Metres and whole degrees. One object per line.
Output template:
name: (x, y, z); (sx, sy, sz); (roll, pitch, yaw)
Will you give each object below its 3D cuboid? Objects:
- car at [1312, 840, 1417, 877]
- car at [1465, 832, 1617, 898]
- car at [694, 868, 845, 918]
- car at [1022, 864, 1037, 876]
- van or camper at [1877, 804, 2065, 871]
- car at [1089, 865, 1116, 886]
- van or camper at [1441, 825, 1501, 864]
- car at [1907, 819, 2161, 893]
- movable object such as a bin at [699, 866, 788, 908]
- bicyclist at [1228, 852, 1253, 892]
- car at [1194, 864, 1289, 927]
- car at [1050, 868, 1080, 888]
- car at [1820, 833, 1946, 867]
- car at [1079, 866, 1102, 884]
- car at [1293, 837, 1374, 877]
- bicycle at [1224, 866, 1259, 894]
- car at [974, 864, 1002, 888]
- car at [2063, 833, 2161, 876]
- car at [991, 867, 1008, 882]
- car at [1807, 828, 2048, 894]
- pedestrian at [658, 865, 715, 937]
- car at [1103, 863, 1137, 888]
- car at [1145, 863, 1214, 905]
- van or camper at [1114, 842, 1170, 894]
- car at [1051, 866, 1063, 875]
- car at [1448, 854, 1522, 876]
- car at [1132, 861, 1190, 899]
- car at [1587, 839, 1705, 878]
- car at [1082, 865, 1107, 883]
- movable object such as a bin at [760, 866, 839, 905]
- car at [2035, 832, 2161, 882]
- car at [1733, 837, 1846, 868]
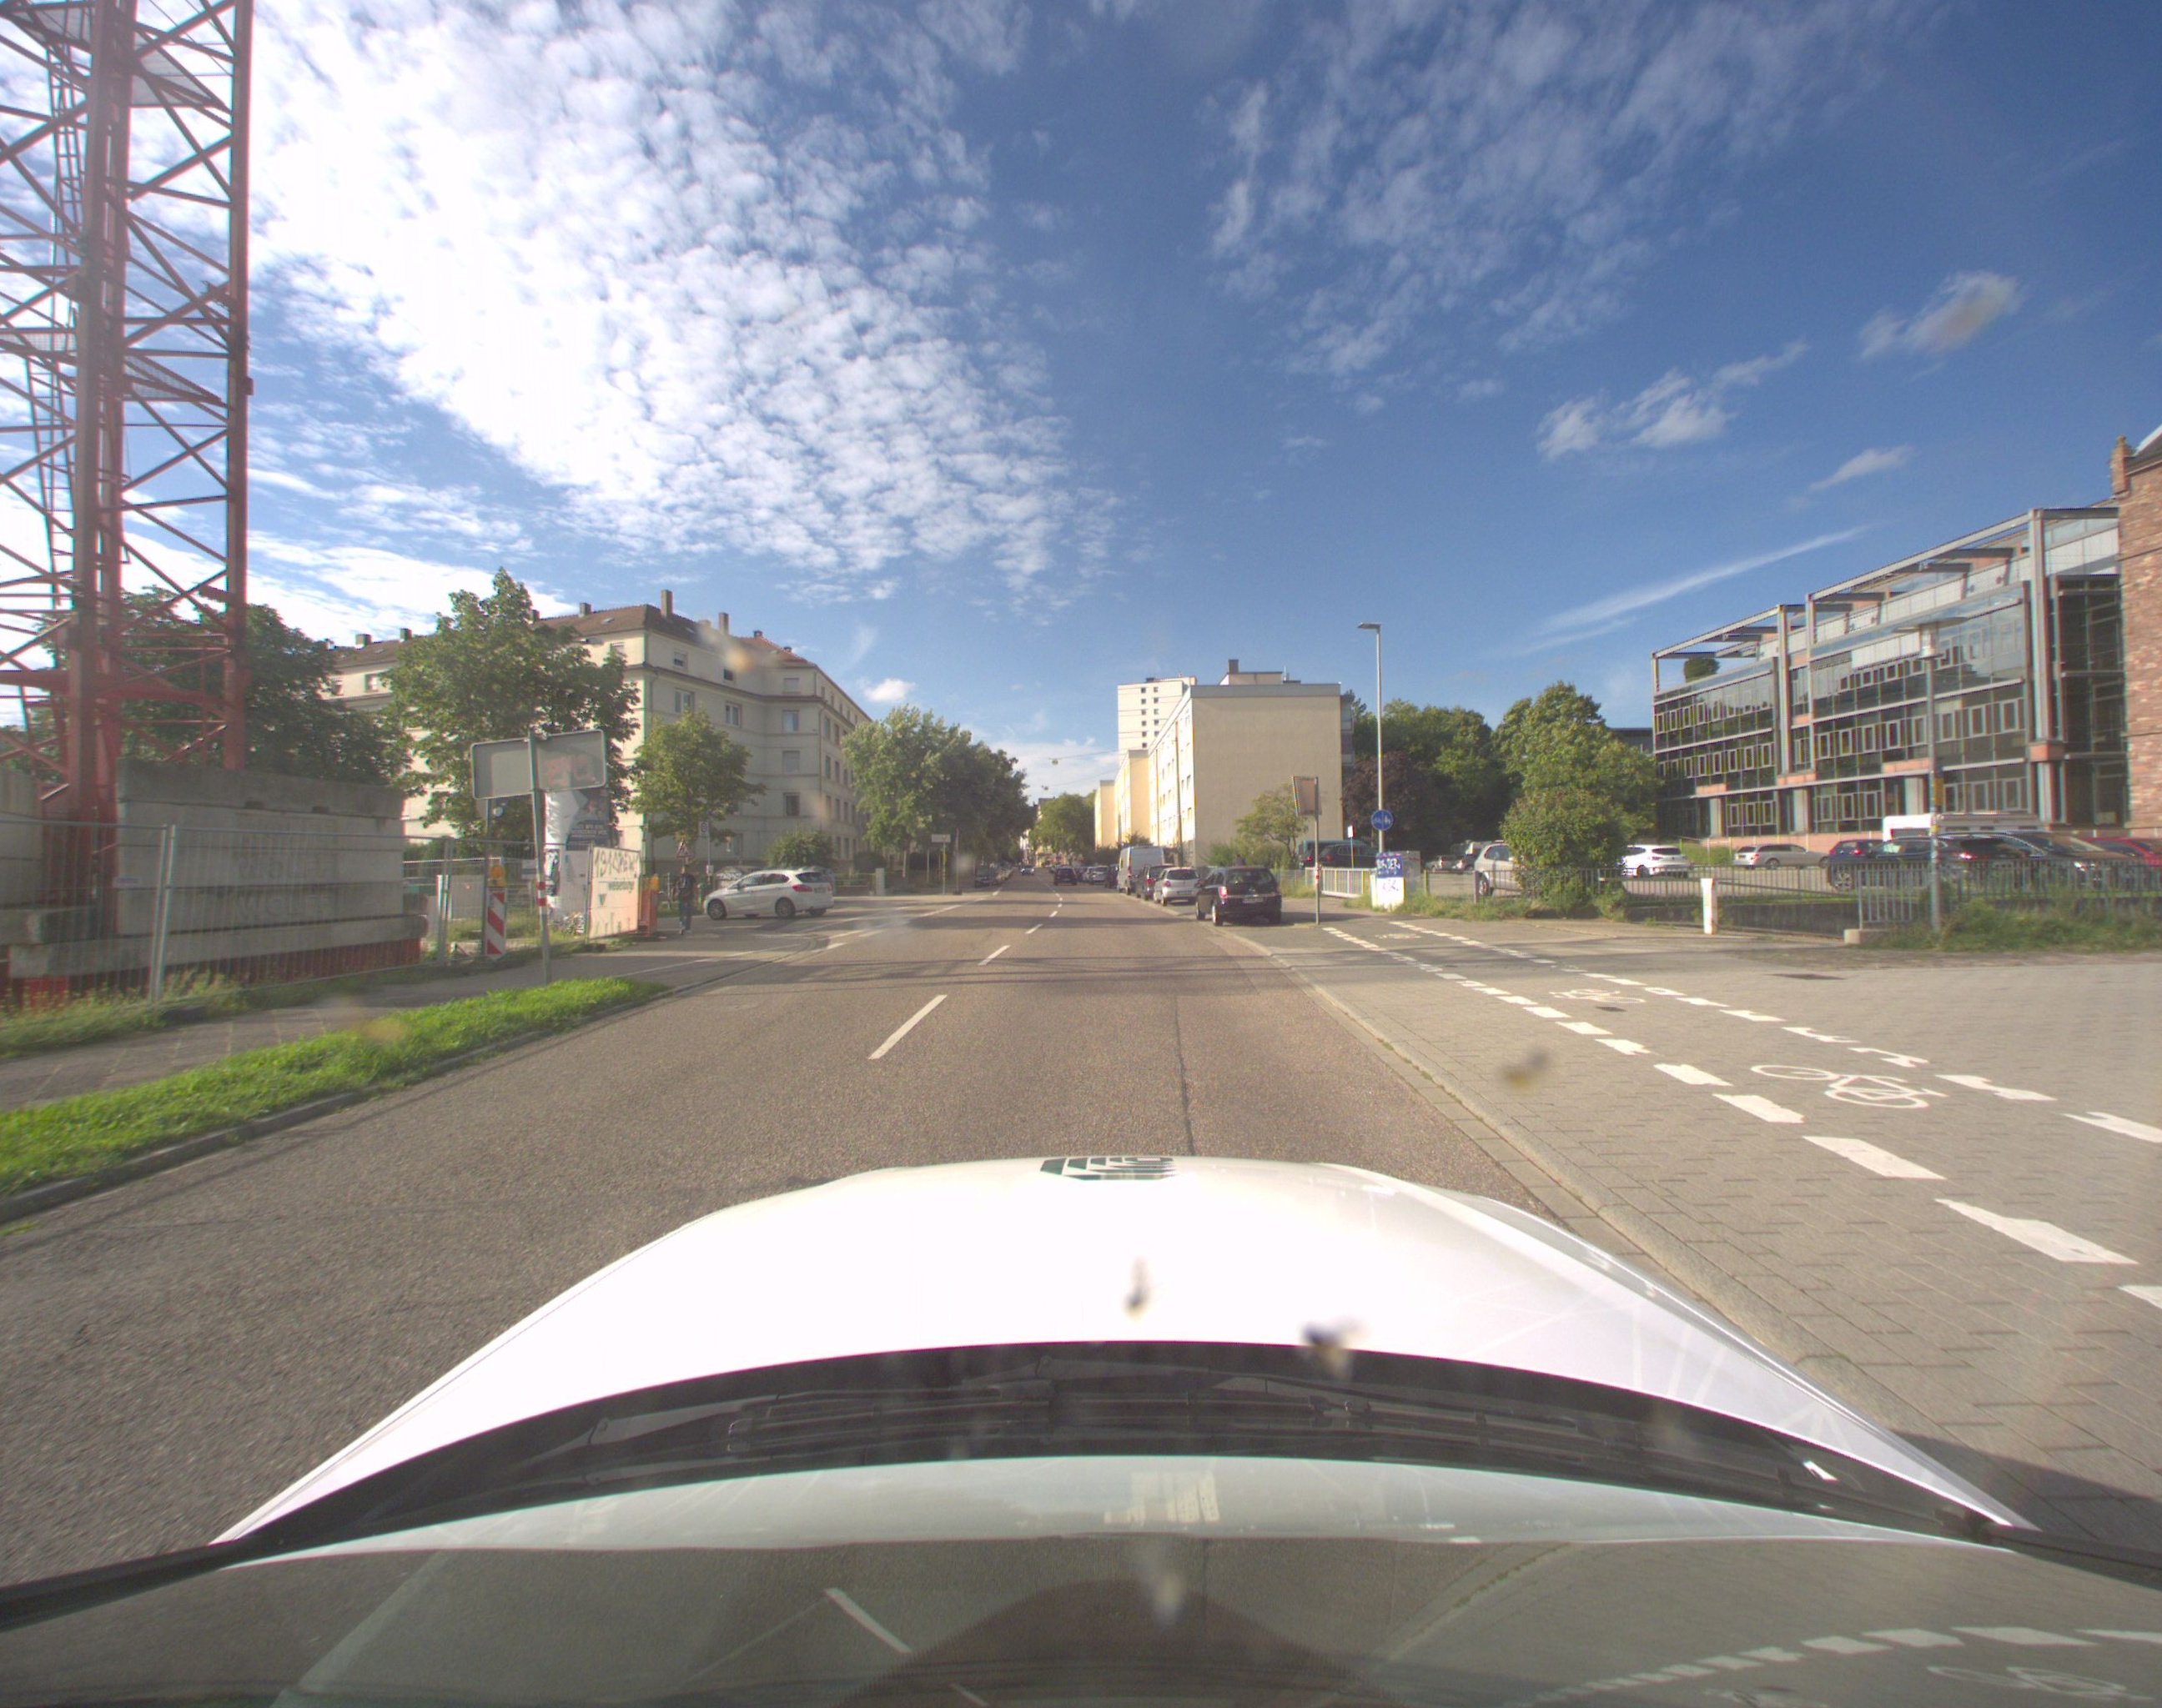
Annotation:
car: (13.843, 0.211, 39.920); (4.430, 1.622, 2.001); (-2, -1, 2)
car: (13.002, 0.317, 23.368); (1.987, 1.666, 4.150); (-2, -1, 0)
car: (-10.153, 1.236, 26.625); (4.226, 1.555, 2.009); (-1, -1, 17)
car: (-7.798, 2.371, 122.450); (2.054, 1.663, 3.916); (-2, -1, -7)
van or camper: (37.425, -0.673, 34.368); (5.227, 2.557, 2.593); (-2, -1, -3)
car: (1.691, 1.729, 65.852); (1.988, 1.574, 3.997); (-2, -1, -2)
van or camper: (31.085, -0.734, 65.118); (2.320, 2.874, 5.123); (-3, -1, 2)
car: (26.111, 0.097, 22.278); (1.847, 1.743, 4.792); (-2, -1, -5)
movable object such as a bin: (-14.184, 1.376, 34.265); (3.081, 1.708, 1.553); (0, -2, 14)
bicyclist: (6.336, 0.727, 32.413); (0.735, 1.513, 0.874); (-3, -1, -2)
car: (4.179, 1.056, 21.862); (1.712, 1.496, 4.267); (-1, -1, 0)
car: (-1.331, 1.911, 65.770); (1.992, 1.570, 3.990); (0, -1, -7)
car: (38.638, -0.168, 39.303); (4.308, 1.355, 1.808); (-3, -1, -2)
car: (0.870, 1.976, 78.228); (1.988, 1.574, 3.997); (-2, -1, -2)
car: (14.634, 0.186, 47.340); (4.103, 2.186, 2.001); (-2, -1, 2)
bicycle: (6.350, 1.008, 32.438); (0.738, 1.035, 2.760); (-3, -1, -1)
car: (-6.934, 1.615, 60.530); (1.992, 1.640, 3.990); (-2, -1, -7)
car: (38.441, -0.029, 29.243); (3.975, 1.442, 1.999); (-2, -1, -1)
car: (-9.086, 2.260, 90.742); (1.805, 1.561, 3.425); (-2, -1, -7)
car: (23.199, 0.223, 22.648); (1.844, 1.589, 4.606); (-2, -1, 0)
pedestrian: (-9.738, 1.143, 20.154); (1.008, 1.728, 1.173); (0, -2, -13)
car: (2.629, 1.441, 55.325); (1.988, 1.574, 3.997); (-2, -1, -2)
car: (3.887, 1.181, 33.072); (2.010, 1.475, 4.797); (-2, -1, -2)
van or camper: (3.226, 0.766, 44.423); (2.206, 2.607, 5.362); (-2, -1, -5)
car: (-4.486, 3.089, 152.400); (1.987, 1.755, 3.999); (0, -1, 0)
car: (27.190, 0.757, 54.935); (3.978, 1.329, 1.998); (-2, -1, -3)
car: (3.673, 1.180, 38.379); (1.990, 1.616, 4.401); (-2, -1, -4)
car: (23.089, 0.182, 33.494); (1.988, 1.442, 3.997); (-2, -1, -2)
car: (1.199, 1.763, 73.616); (1.988, 1.530, 3.997); (-2, -1, -2)
movable object such as a bin: (-12.801, 1.426, 37.087); (3.082, 1.708, 1.415); (0, -2, 12)
car: (29.005, 0.059, 21.998); (1.707, 1.265, 3.952); (-2, 1, -5)
car: (38.175, -0.059, 43.983); (4.296, 1.379, 1.813); (-3, -1, 7)
